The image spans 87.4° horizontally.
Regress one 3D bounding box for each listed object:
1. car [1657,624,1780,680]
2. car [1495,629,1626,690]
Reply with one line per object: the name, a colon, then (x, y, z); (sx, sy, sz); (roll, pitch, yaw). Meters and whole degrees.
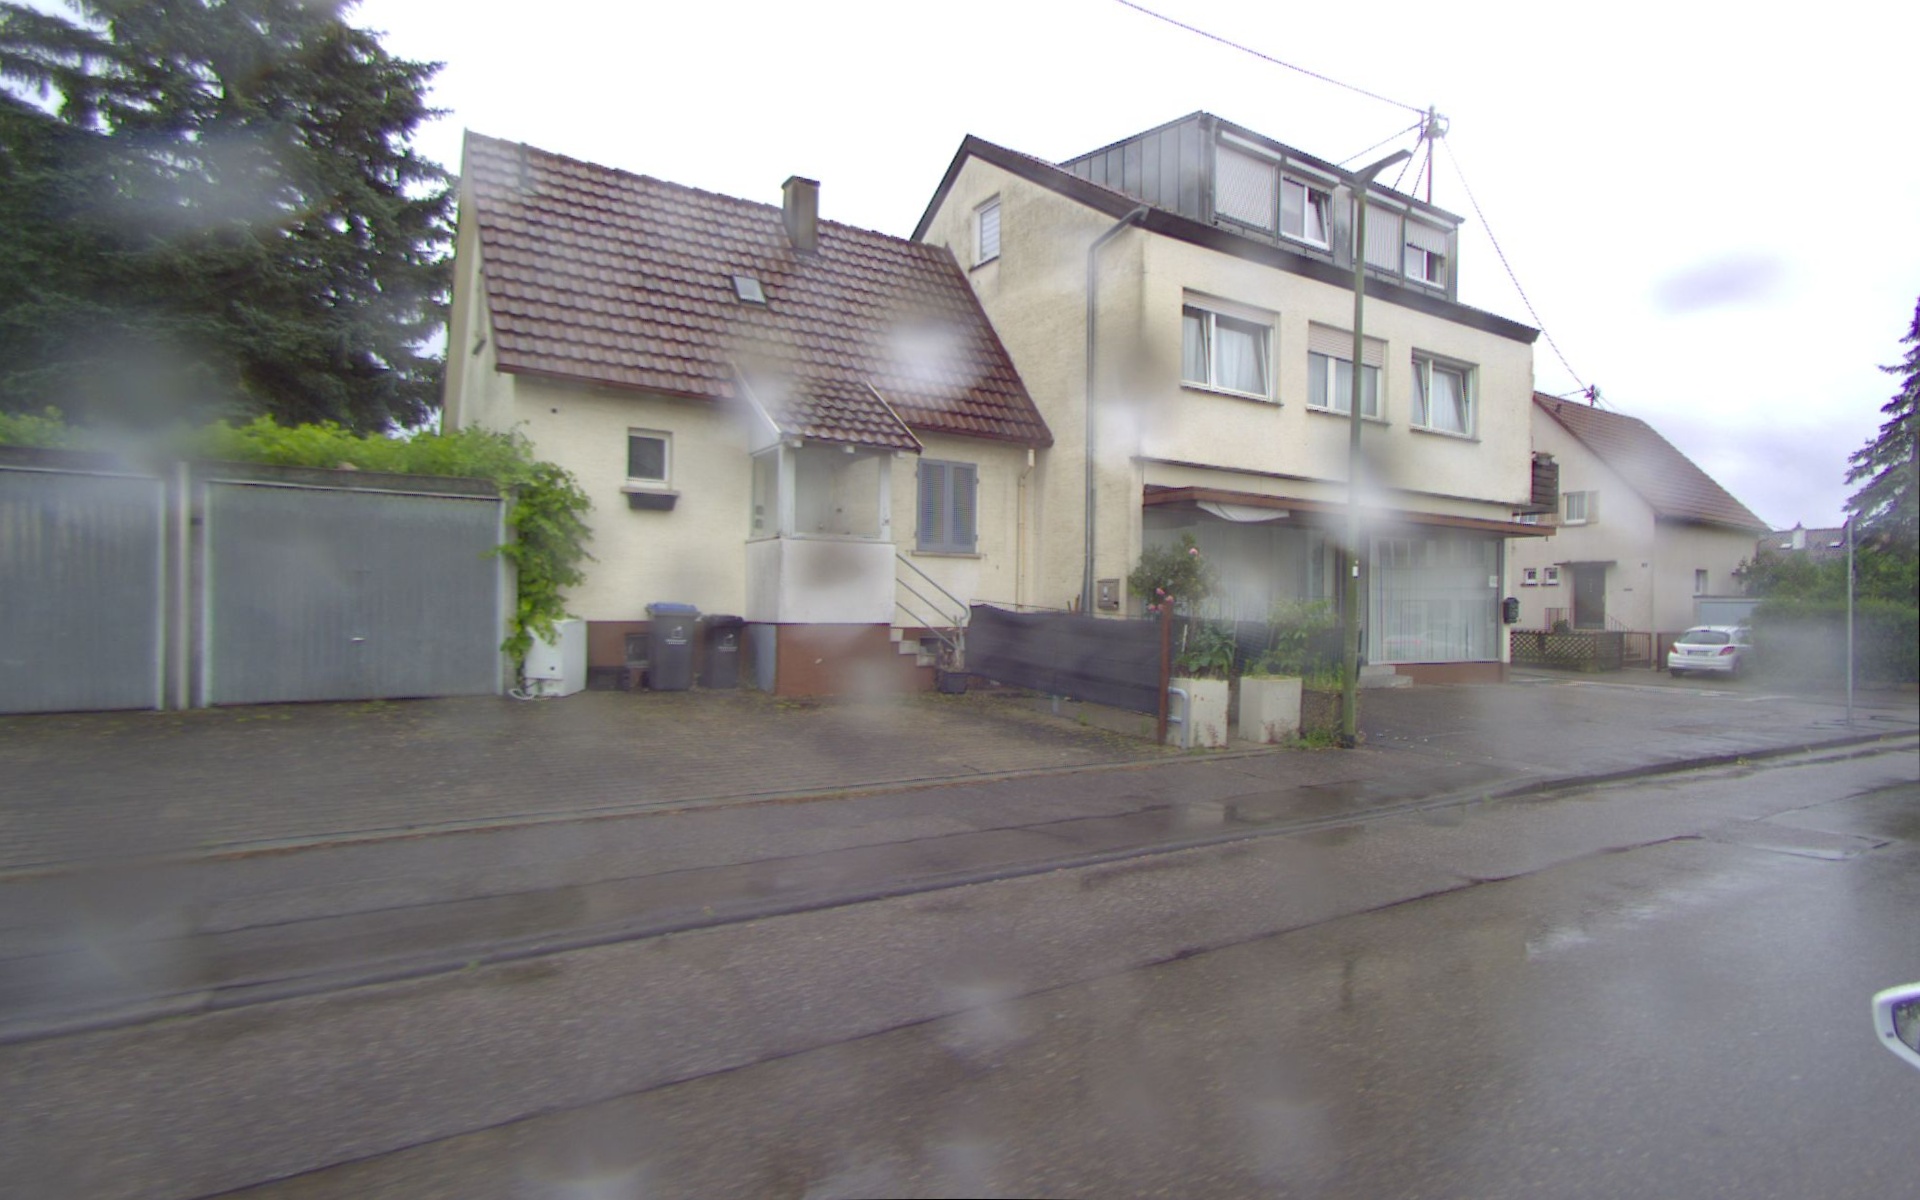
car: (23.099, 1.527, 30.573); (3.957, 1.528, 1.784); (0, 0, -33)
car: (19.210, 1.907, 32.081); (4.499, 1.680, 1.848); (5, -2, -34)
